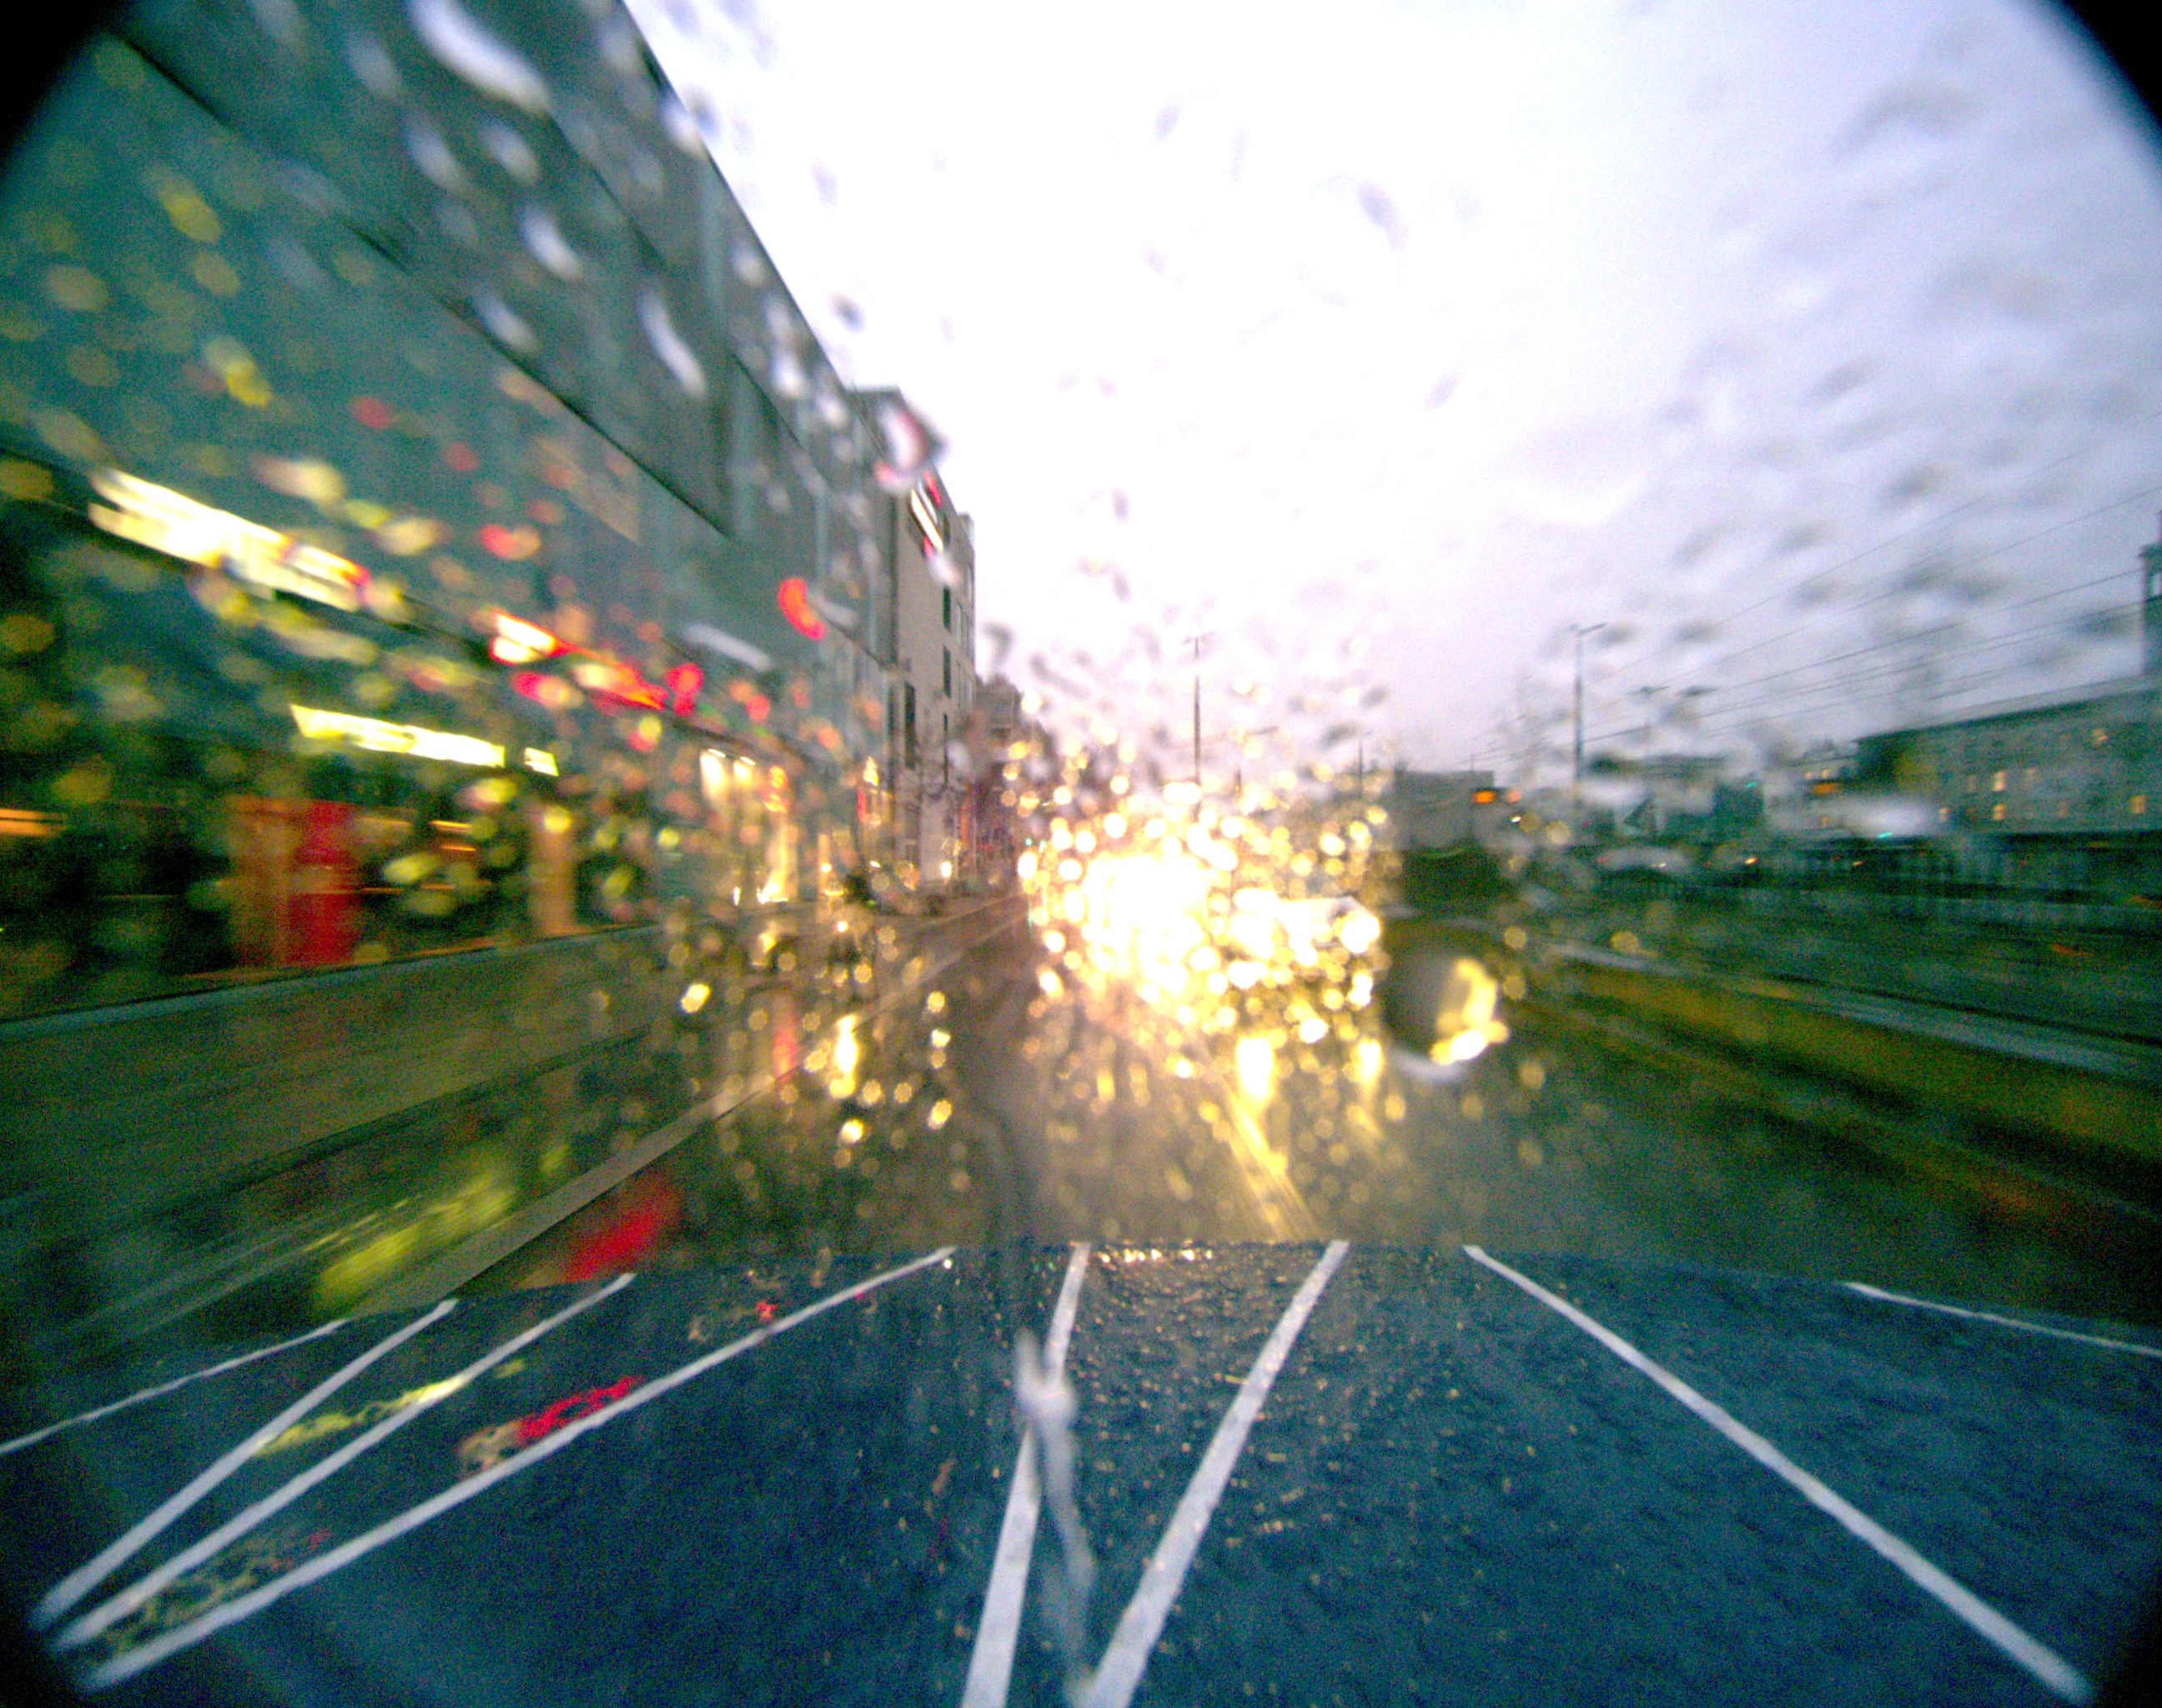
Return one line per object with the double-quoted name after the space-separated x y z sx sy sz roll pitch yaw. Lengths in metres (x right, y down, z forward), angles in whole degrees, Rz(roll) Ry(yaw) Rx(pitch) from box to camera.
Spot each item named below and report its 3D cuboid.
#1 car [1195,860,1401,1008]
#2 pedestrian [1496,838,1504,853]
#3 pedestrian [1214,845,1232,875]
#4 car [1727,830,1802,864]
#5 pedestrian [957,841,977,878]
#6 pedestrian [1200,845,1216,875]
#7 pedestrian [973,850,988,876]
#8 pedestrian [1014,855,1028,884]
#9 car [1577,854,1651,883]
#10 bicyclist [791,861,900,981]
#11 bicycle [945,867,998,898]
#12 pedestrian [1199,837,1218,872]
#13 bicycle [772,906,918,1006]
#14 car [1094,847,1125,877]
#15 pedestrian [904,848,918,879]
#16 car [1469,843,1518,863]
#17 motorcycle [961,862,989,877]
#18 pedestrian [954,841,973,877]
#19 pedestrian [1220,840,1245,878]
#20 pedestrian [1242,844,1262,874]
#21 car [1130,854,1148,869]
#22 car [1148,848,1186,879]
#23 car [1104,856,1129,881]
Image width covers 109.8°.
2.596 0.870 10.092 1.813 1.464 4.140 -2 0 4 "car"
48.071 -0.986 87.121 0.655 1.656 0.743 0 1 39 "pedestrian"
8.222 0.356 44.048 0.654 1.708 0.749 -2 1 -24 "pedestrian"
58.141 -0.601 64.709 4.434 2.696 2.001 -2 1 7 "car"
-6.860 0.322 45.871 0.960 2.179 0.712 -1 1 14 "pedestrian"
7.490 0.362 44.763 0.665 1.725 0.606 0 2 39 "pedestrian"
-6.290 0.592 47.642 0.779 1.598 0.501 -2 0 3 "pedestrian"
-3.523 0.905 44.594 0.707 1.685 0.723 1 0 -9 "pedestrian"
36.423 0.941 52.064 1.878 1.862 4.384 -2 0 -1 "car"
-3.037 0.836 9.920 0.945 1.454 1.067 -2 1 8 "bicyclist"
-4.193 1.086 29.080 1.908 1.168 0.667 1 1 2 "bicycle"
8.044 0.019 47.952 0.906 2.133 1.017 -2 1 -9 "pedestrian"
-3.011 1.277 10.028 0.945 0.993 2.241 -2 0 8 "bicycle"
1.893 0.505 49.773 1.864 1.867 4.001 -2 0 4 "car"
-10.024 0.561 44.869 0.616 1.794 0.624 -2 0 3 "pedestrian"
35.272 -0.058 65.081 1.878 1.607 4.232 -2 0 -1 "car"
-6.580 0.953 47.249 1.636 0.884 0.395 -2 0 4 "motorcycle"
-7.196 0.311 46.683 0.965 2.149 0.581 -1 1 14 "pedestrian"
9.072 0.306 45.554 1.054 2.195 0.956 -2 1 -24 "pedestrian"
10.067 0.303 44.757 0.862 1.704 0.763 -2 1 -24 "pedestrian"
6.813 0.827 89.601 1.867 1.652 3.987 -1 0 3 "car"
4.925 0.522 44.055 1.998 1.673 4.001 -2 0 4 "car"
3.035 1.204 64.755 1.998 2.002 4.000 -1 0 3 "car"
